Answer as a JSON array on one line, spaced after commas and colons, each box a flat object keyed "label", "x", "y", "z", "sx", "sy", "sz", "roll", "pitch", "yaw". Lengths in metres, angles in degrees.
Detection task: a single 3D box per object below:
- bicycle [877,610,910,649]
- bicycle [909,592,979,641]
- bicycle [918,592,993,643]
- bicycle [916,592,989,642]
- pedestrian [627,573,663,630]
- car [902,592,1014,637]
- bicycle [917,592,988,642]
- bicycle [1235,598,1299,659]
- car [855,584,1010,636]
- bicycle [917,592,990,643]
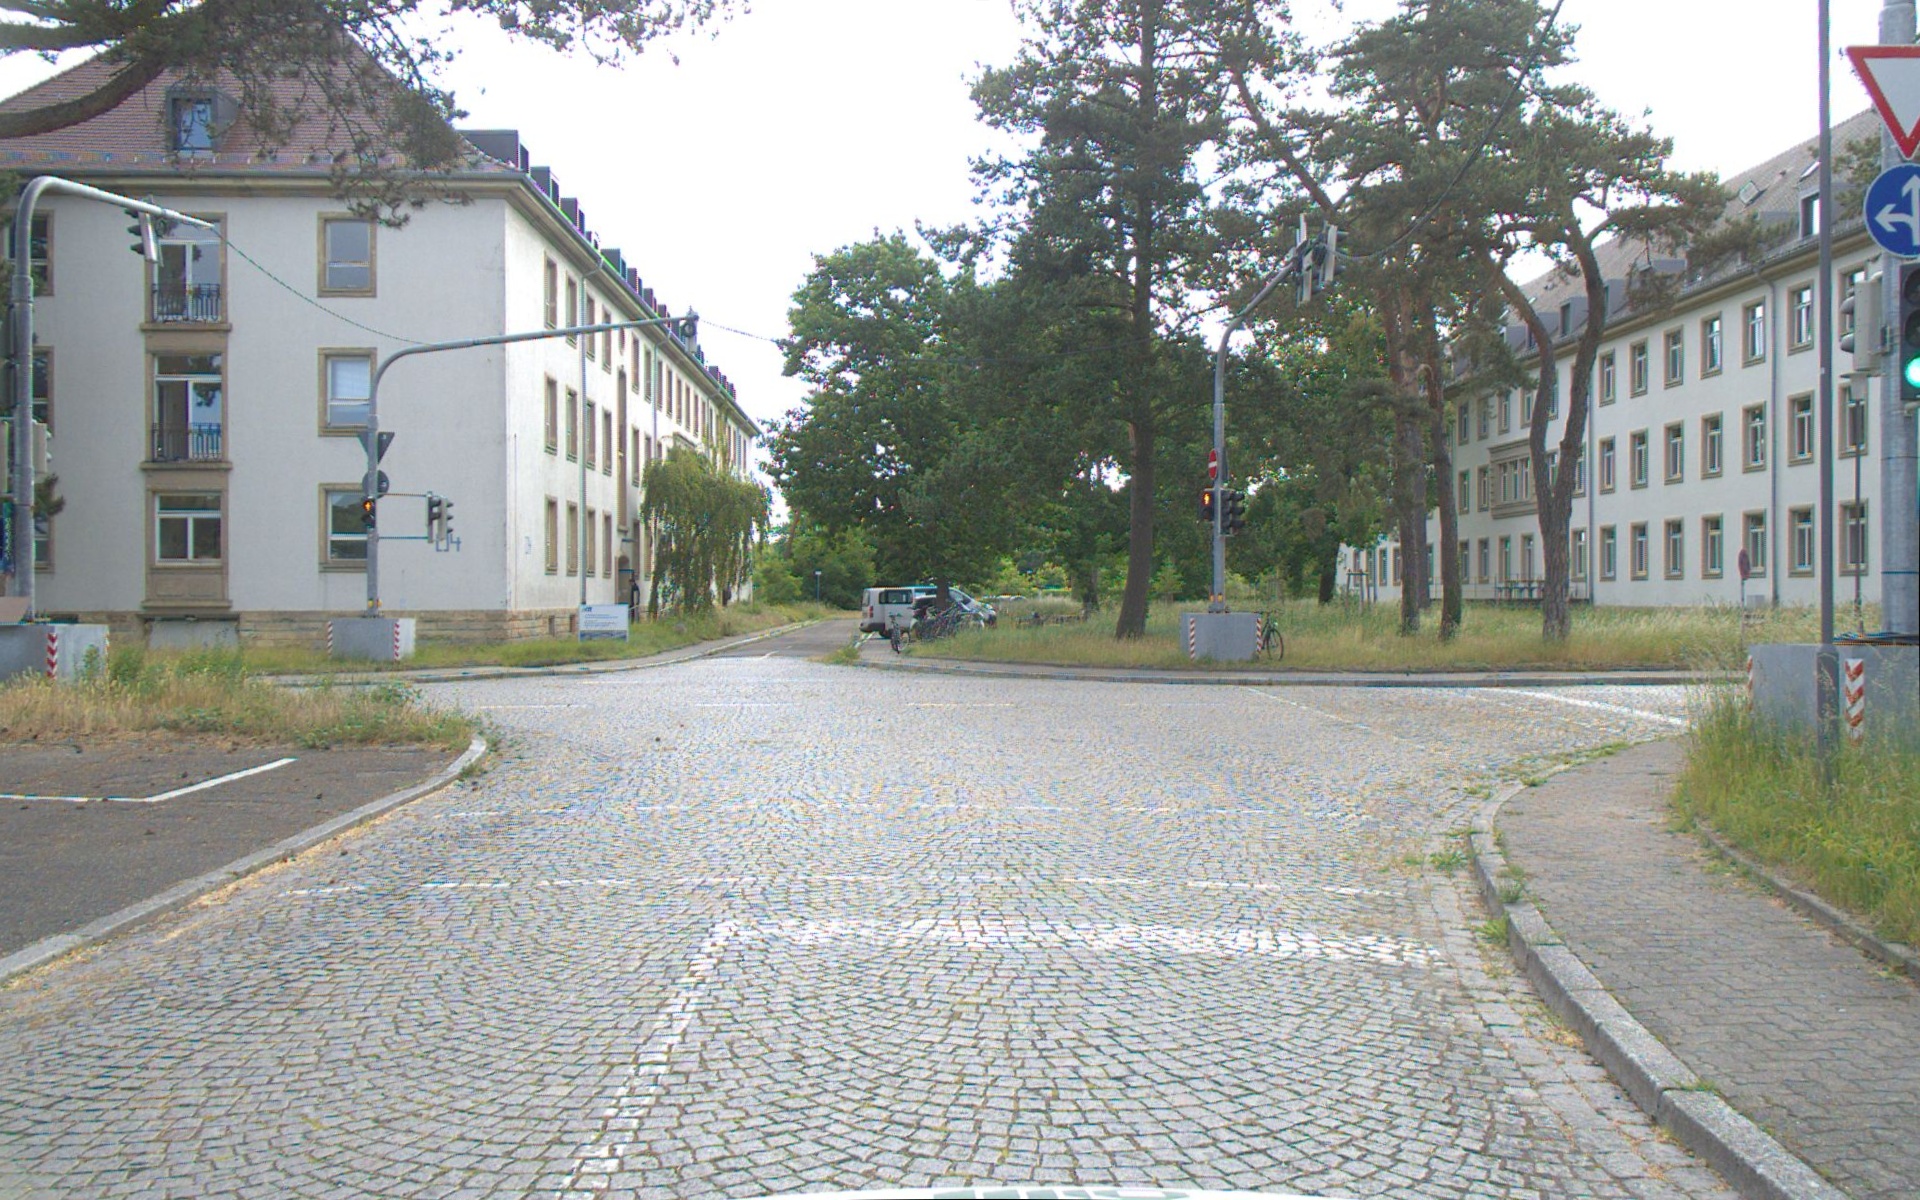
[{"label": "bicycle", "x": -1.741, "y": 0.764, "z": 43.574, "sx": 0.605, "sy": 0.980, "sz": 2.078, "roll": 0, "pitch": 0, "yaw": 5}, {"label": "bicycle", "x": -0.468, "y": 0.480, "z": 48.299, "sx": 2.028, "sy": 1.402, "sz": 0.620, "roll": 0, "pitch": 0, "yaw": -1}, {"label": "bicycle", "x": -0.128, "y": 0.477, "z": 45.417, "sx": 2.028, "sy": 1.402, "sz": 0.620, "roll": 0, "pitch": 0, "yaw": -1}, {"label": "bicycle", "x": -0.210, "y": 0.481, "z": 46.711, "sx": 2.028, "sy": 1.402, "sz": 0.620, "roll": 0, "pitch": 0, "yaw": -1}, {"label": "pedestrian", "x": -11.539, "y": 0.059, "z": 60.597, "sx": 1.064, "sy": 2.049, "sz": 1.022, "roll": 0, "pitch": 0, "yaw": 4}, {"label": "car", "x": -0.103, "y": 0.513, "z": 59.941, "sx": 3.857, "sy": 1.571, "sz": 1.997, "roll": 0, "pitch": 0, "yaw": -6}, {"label": "bicycle", "x": -0.224, "y": 0.485, "z": 47.507, "sx": 2.028, "sy": 1.402, "sz": 0.620, "roll": 0, "pitch": 0, "yaw": -1}, {"label": "bicycle", "x": 6.167, "y": 0.557, "z": 33.323, "sx": 0.890, "sy": 1.197, "sz": 1.873, "roll": 0, "pitch": 0, "yaw": -2}, {"label": "car", "x": -1.071, "y": 0.357, "z": 63.284, "sx": 5.595, "sy": 1.944, "sz": 2.222, "roll": 0, "pitch": 0, "yaw": -14}, {"label": "bicycle", "x": -0.190, "y": 0.478, "z": 46.086, "sx": 2.028, "sy": 1.402, "sz": 0.620, "roll": 0, "pitch": 0, "yaw": -1}]
